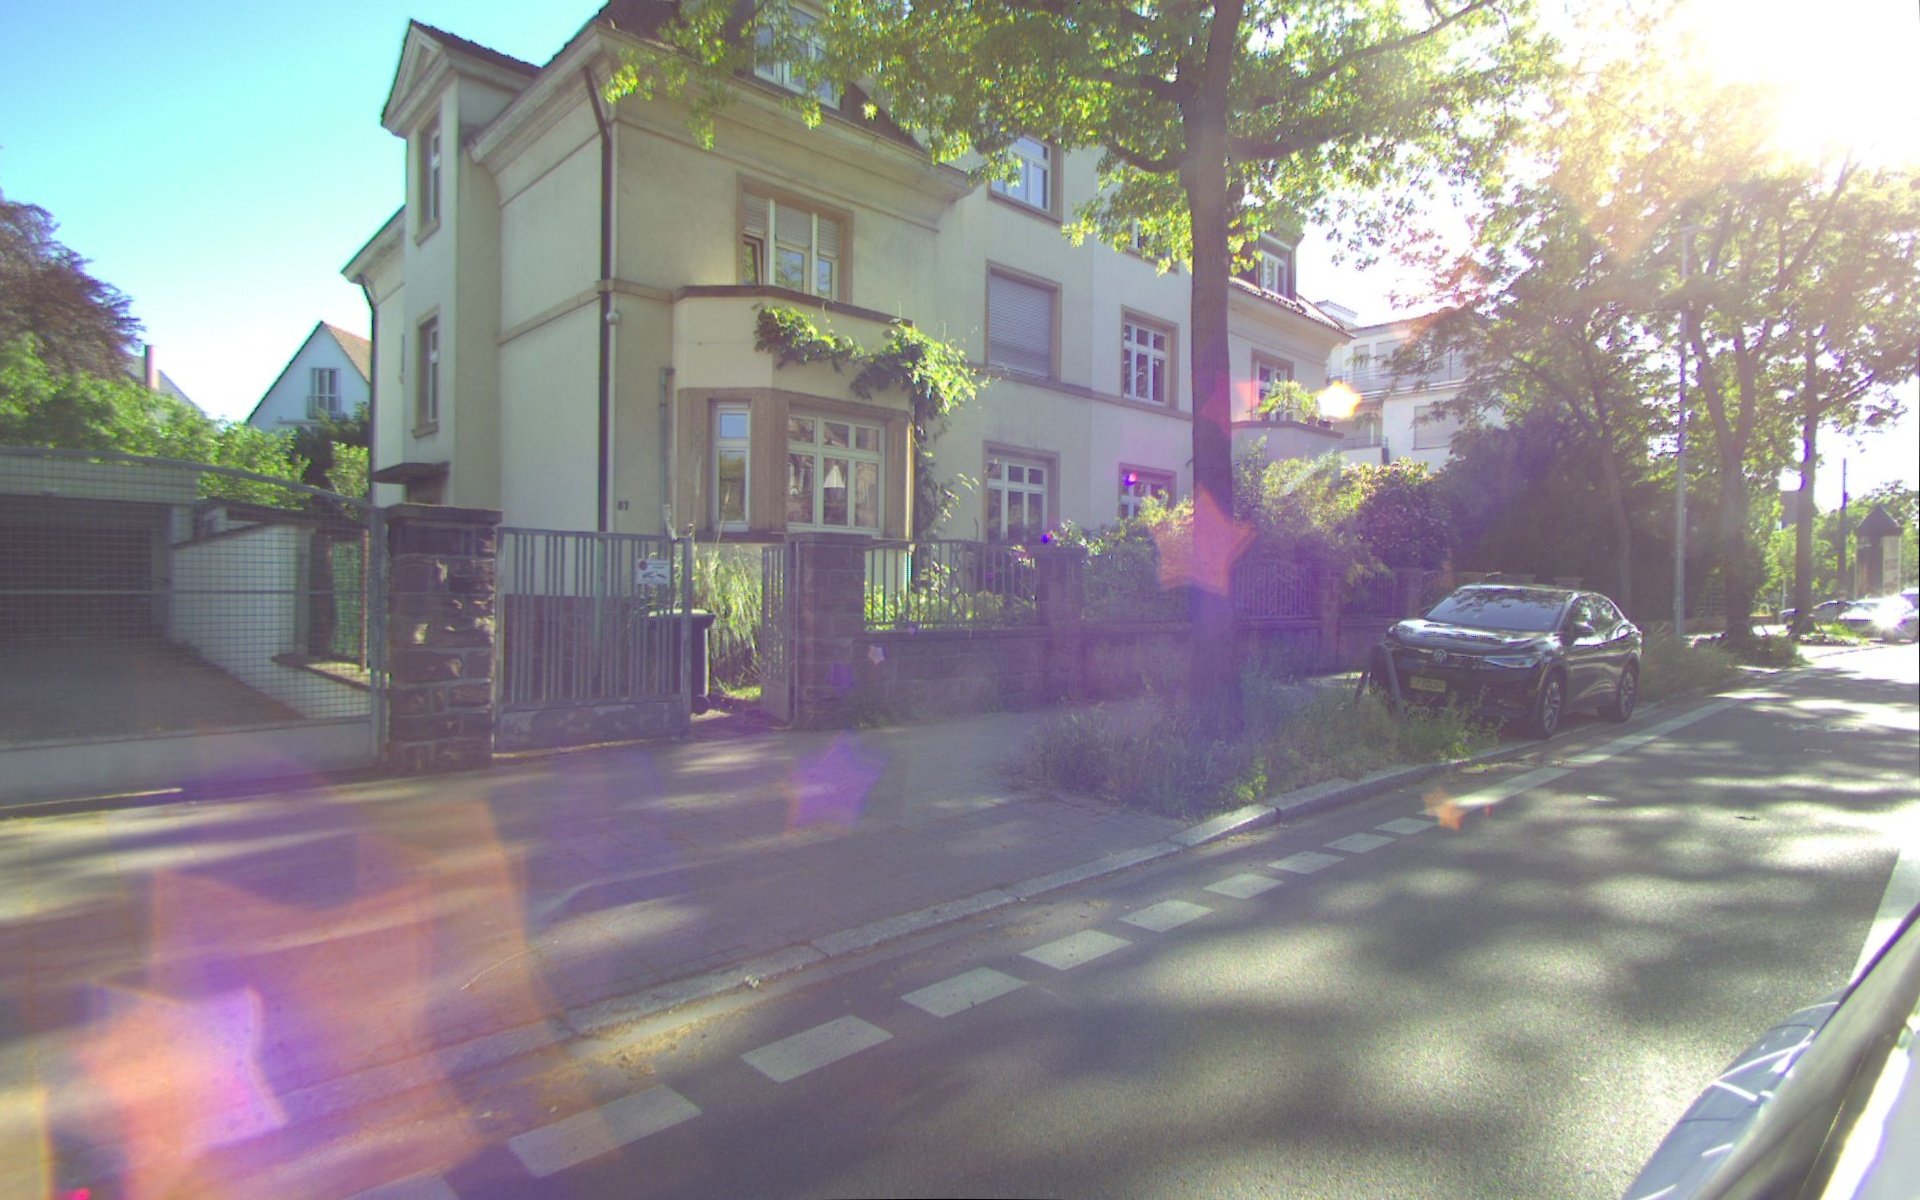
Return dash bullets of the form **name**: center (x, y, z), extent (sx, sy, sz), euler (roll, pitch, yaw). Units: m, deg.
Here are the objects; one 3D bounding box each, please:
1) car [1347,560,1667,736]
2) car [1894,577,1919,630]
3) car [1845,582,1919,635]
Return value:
- **car**: center (6.703, 0.481, 12.202), extent (4.304, 1.695, 1.997), euler (1, 2, -42)
- **car**: center (36.765, 0.129, 37.884), extent (4.663, 1.919, 2.128), euler (0, 1, -41)
- **car**: center (31.510, 0.252, 34.107), extent (3.927, 1.660, 1.824), euler (0, 1, -38)
